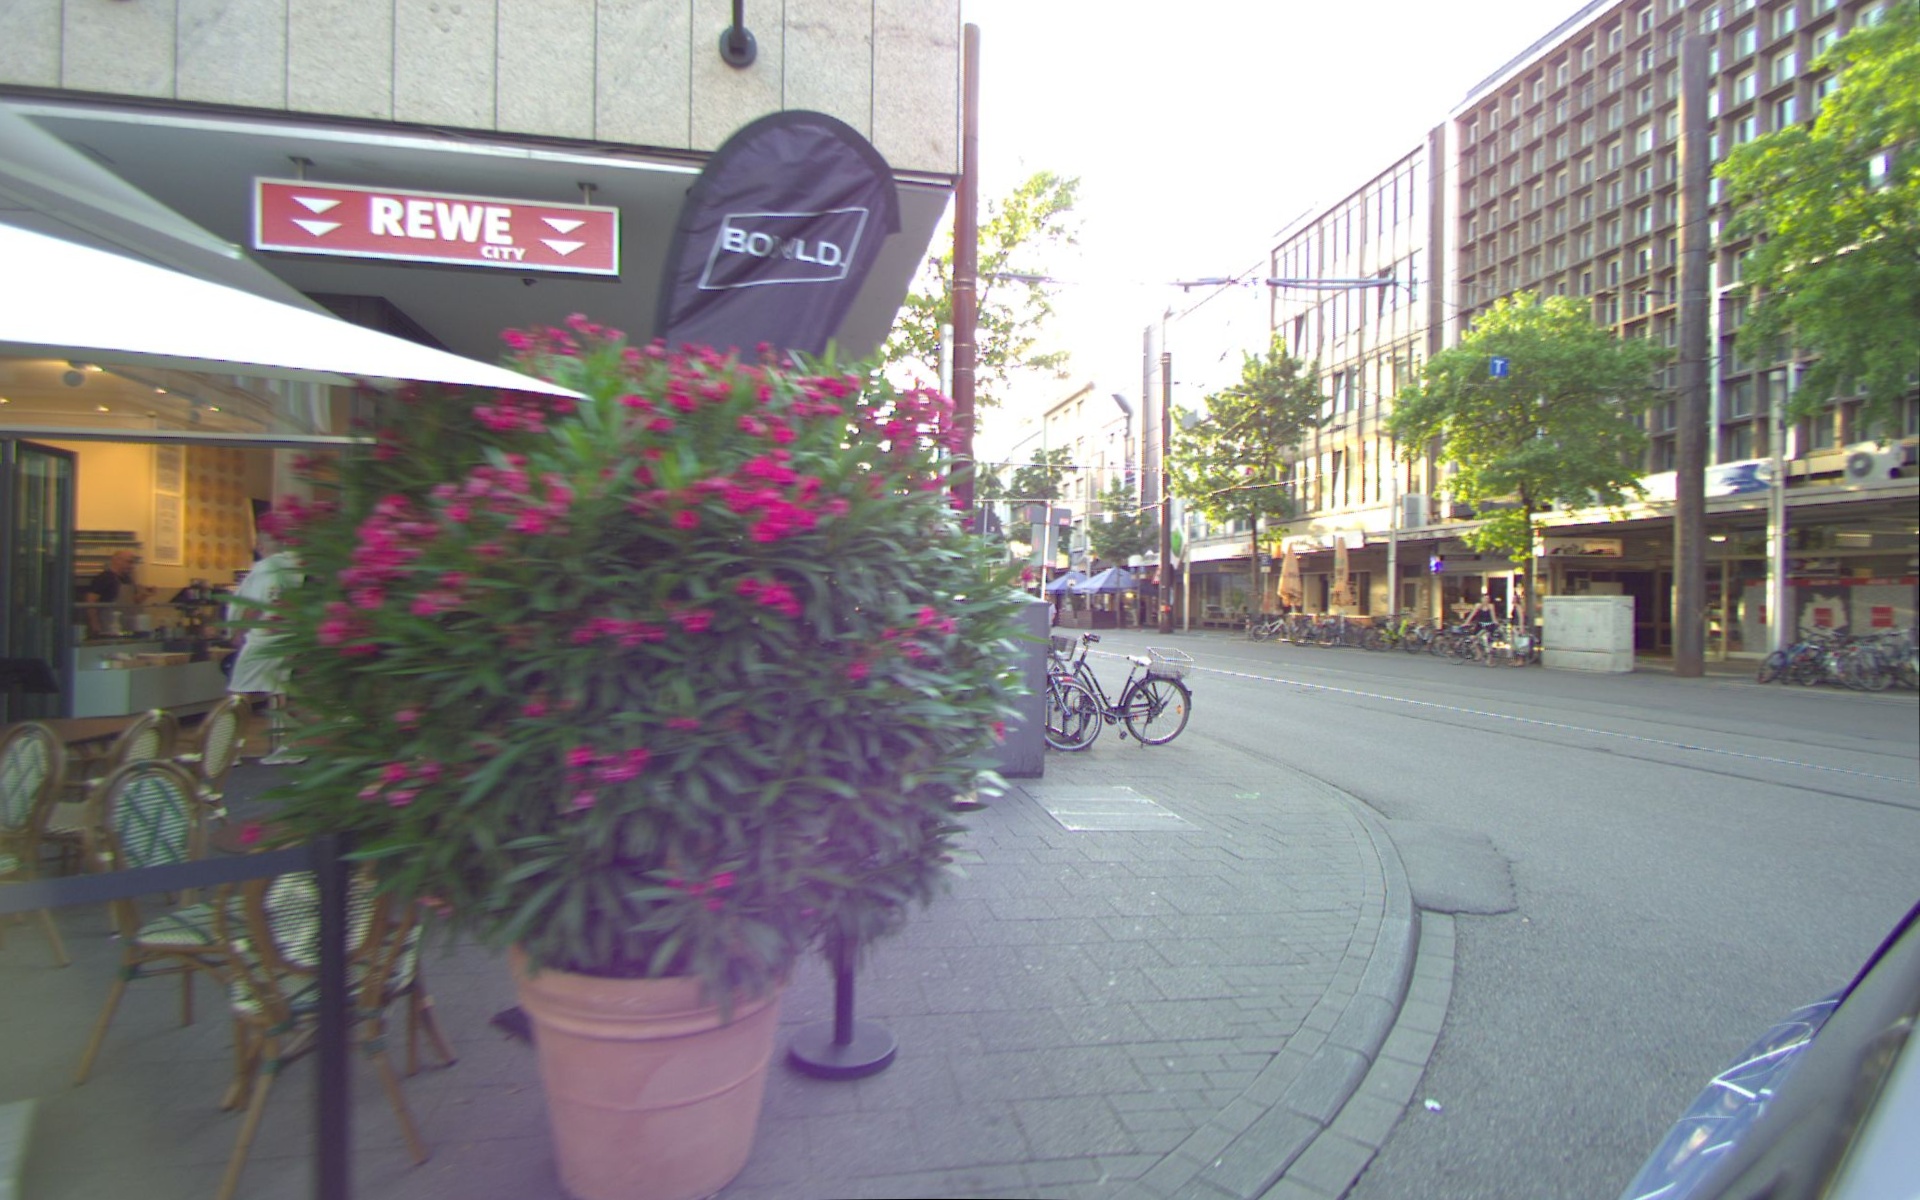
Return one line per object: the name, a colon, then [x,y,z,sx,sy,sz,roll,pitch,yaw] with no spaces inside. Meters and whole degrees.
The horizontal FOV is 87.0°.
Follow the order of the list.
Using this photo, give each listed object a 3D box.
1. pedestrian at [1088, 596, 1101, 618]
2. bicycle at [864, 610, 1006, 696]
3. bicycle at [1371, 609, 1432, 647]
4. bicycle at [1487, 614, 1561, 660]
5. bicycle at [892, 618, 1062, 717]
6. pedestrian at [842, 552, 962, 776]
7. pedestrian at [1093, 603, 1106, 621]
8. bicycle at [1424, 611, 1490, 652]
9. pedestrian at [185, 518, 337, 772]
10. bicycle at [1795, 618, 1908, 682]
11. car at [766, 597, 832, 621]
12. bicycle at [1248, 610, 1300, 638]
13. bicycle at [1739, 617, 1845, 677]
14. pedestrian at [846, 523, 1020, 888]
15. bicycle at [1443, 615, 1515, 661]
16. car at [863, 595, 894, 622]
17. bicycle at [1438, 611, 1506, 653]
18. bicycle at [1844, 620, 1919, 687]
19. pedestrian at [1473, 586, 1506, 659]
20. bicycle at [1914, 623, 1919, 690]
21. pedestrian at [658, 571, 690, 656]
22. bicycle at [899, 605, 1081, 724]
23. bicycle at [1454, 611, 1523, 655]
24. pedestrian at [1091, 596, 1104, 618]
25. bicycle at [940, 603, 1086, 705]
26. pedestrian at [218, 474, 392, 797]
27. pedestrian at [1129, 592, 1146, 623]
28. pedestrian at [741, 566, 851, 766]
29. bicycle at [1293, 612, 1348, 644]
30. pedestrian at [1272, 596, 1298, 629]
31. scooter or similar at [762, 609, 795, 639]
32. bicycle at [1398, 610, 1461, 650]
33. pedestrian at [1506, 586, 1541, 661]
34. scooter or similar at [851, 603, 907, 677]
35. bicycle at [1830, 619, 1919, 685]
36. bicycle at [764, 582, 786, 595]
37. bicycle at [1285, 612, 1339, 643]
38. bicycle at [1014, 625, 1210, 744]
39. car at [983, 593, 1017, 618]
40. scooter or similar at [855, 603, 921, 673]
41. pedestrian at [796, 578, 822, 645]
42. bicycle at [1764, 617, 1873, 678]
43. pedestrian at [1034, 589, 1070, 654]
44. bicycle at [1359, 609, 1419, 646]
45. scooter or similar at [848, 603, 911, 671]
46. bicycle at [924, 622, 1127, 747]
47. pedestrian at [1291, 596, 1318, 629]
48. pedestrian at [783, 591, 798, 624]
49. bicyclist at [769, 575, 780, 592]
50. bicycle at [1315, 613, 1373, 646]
pedestrian: [9.408,0.488,70.963,0.649,1.452,0.644,-4,1,-10]
bicycle: [-0.386,0.790,15.154,1.960,1.170,0.727,3,-1,-15]
bicycle: [13.297,0.844,30.469,1.740,1.085,0.490,-1,-1,-16]
bicycle: [13.724,0.881,24.689,0.479,1.058,1.781,0,-1,-13]
bicycle: [0.197,0.807,12.268,1.881,1.091,0.765,3,-1,-15]
pedestrian: [-0.487,0.495,8.246,0.788,1.716,0.812,2,-1,-14]
pedestrian: [9.422,0.813,68.397,0.629,1.171,0.667,-2,1,-12]
bicycle: [13.769,0.858,28.049,1.740,1.085,0.490,-1,-1,-16]
pedestrian: [-5.406,0.337,7.870,0.652,1.872,0.720,2,0,-5]
bicycle: [15.682,0.862,17.808,1.741,1.058,0.490,-1,-1,-10]
car: [-12.103,0.690,76.130,4.557,1.651,1.914,4,-3,-42]
bicycle: [11.530,0.887,37.179,1.747,0.978,0.488,-1,0,7]
bicycle: [15.492,0.859,18.855,1.741,1.058,0.490,-1,-1,-10]
pedestrian: [-0.176,0.510,5.341,0.750,1.740,0.925,2,0,-9]
bicycle: [12.323,0.883,24.094,0.479,1.058,1.781,0,-1,-13]
car: [-6.356,0.666,78.360,1.959,2.039,4.006,1,0,-10]
bicycle: [13.922,0.862,27.522,1.740,1.085,0.490,-1,-1,-16]
bicycle: [15.854,0.879,17.003,1.741,1.058,0.490,-1,-1,-10]
pedestrian: [12.616,0.535,24.110,0.595,1.721,0.532,-1,-1,19]
bicycle: [16.049,0.881,15.958,1.741,1.058,0.490,-1,-1,-10]
pedestrian: [-6.127,0.293,21.705,0.572,1.775,0.775,2,-1,-11]
bicycle: [0.333,0.727,11.534,1.881,1.238,0.765,3,-1,-15]
bicycle: [14.034,0.866,26.878,1.740,1.085,0.490,-1,-1,-16]
pedestrian: [9.551,0.493,70.257,0.649,1.452,0.644,-4,1,-10]
bicycle: [0.751,0.760,14.391,1.881,1.350,0.727,3,-1,-15]
pedestrian: [-4.375,0.231,6.821,0.674,2.039,0.784,2,-1,-10]
pedestrian: [10.432,0.445,59.592,0.672,1.815,0.992,-2,0,-8]
pedestrian: [-1.374,0.523,8.390,0.788,1.556,0.812,2,-1,-14]
bicycle: [12.089,0.935,33.928,1.740,1.003,0.490,-1,-1,-16]
pedestrian: [13.895,0.520,43.241,0.658,1.342,0.914,-2,0,-12]
scooter or similar: [-5.528,0.721,30.836,0.821,0.895,0.686,-1,0,4]
bicycle: [13.575,0.851,29.256,1.740,1.085,0.490,-1,-1,-16]
pedestrian: [13.170,0.537,23.648,0.595,1.721,0.532,-1,-1,19]
scooter or similar: [-1.418,0.701,17.901,0.389,1.267,1.179,1,-2,27]
bicycle: [15.812,0.869,17.242,1.741,1.058,0.490,-1,-1,-10]
bicycle: [-15.930,-0.976,87.119,1.827,1.086,0.734,0,2,-11]
bicycle: [11.983,0.932,34.446,1.740,1.003,0.490,-1,-1,-16]
bicycle: [1.529,0.851,10.263,1.819,1.123,0.668,2,-1,-13]
car: [3.110,0.406,80.201,1.795,1.845,4.336,-2,0,-9]
scooter or similar: [-1.323,0.700,18.669,1.170,1.267,0.393,3,-2,-40]
pedestrian: [-4.292,0.325,28.734,0.657,1.863,0.709,2,-1,-11]
bicycle: [15.579,0.850,18.371,1.741,1.058,0.490,-1,-1,-10]
pedestrian: [2.614,0.598,28.870,0.806,1.815,0.991,-2,0,-4]
bicycle: [13.171,0.840,31.034,1.740,1.085,0.490,-1,-1,-16]
scooter or similar: [-1.540,0.708,19.445,1.096,1.267,0.496,3,-2,-41]
bicycle: [0.628,0.816,9.853,1.819,1.123,0.668,2,-1,-13]
pedestrian: [14.327,0.521,42.105,0.658,1.342,0.914,-2,0,-12]
pedestrian: [-8.466,0.372,50.537,0.657,1.608,0.639,-1,0,-11]
bicyclist: [-15.948,-1.443,87.092,0.879,1.432,0.763,0,2,-11]
bicycle: [12.343,0.943,32.536,1.740,1.003,0.490,-1,-1,-16]
